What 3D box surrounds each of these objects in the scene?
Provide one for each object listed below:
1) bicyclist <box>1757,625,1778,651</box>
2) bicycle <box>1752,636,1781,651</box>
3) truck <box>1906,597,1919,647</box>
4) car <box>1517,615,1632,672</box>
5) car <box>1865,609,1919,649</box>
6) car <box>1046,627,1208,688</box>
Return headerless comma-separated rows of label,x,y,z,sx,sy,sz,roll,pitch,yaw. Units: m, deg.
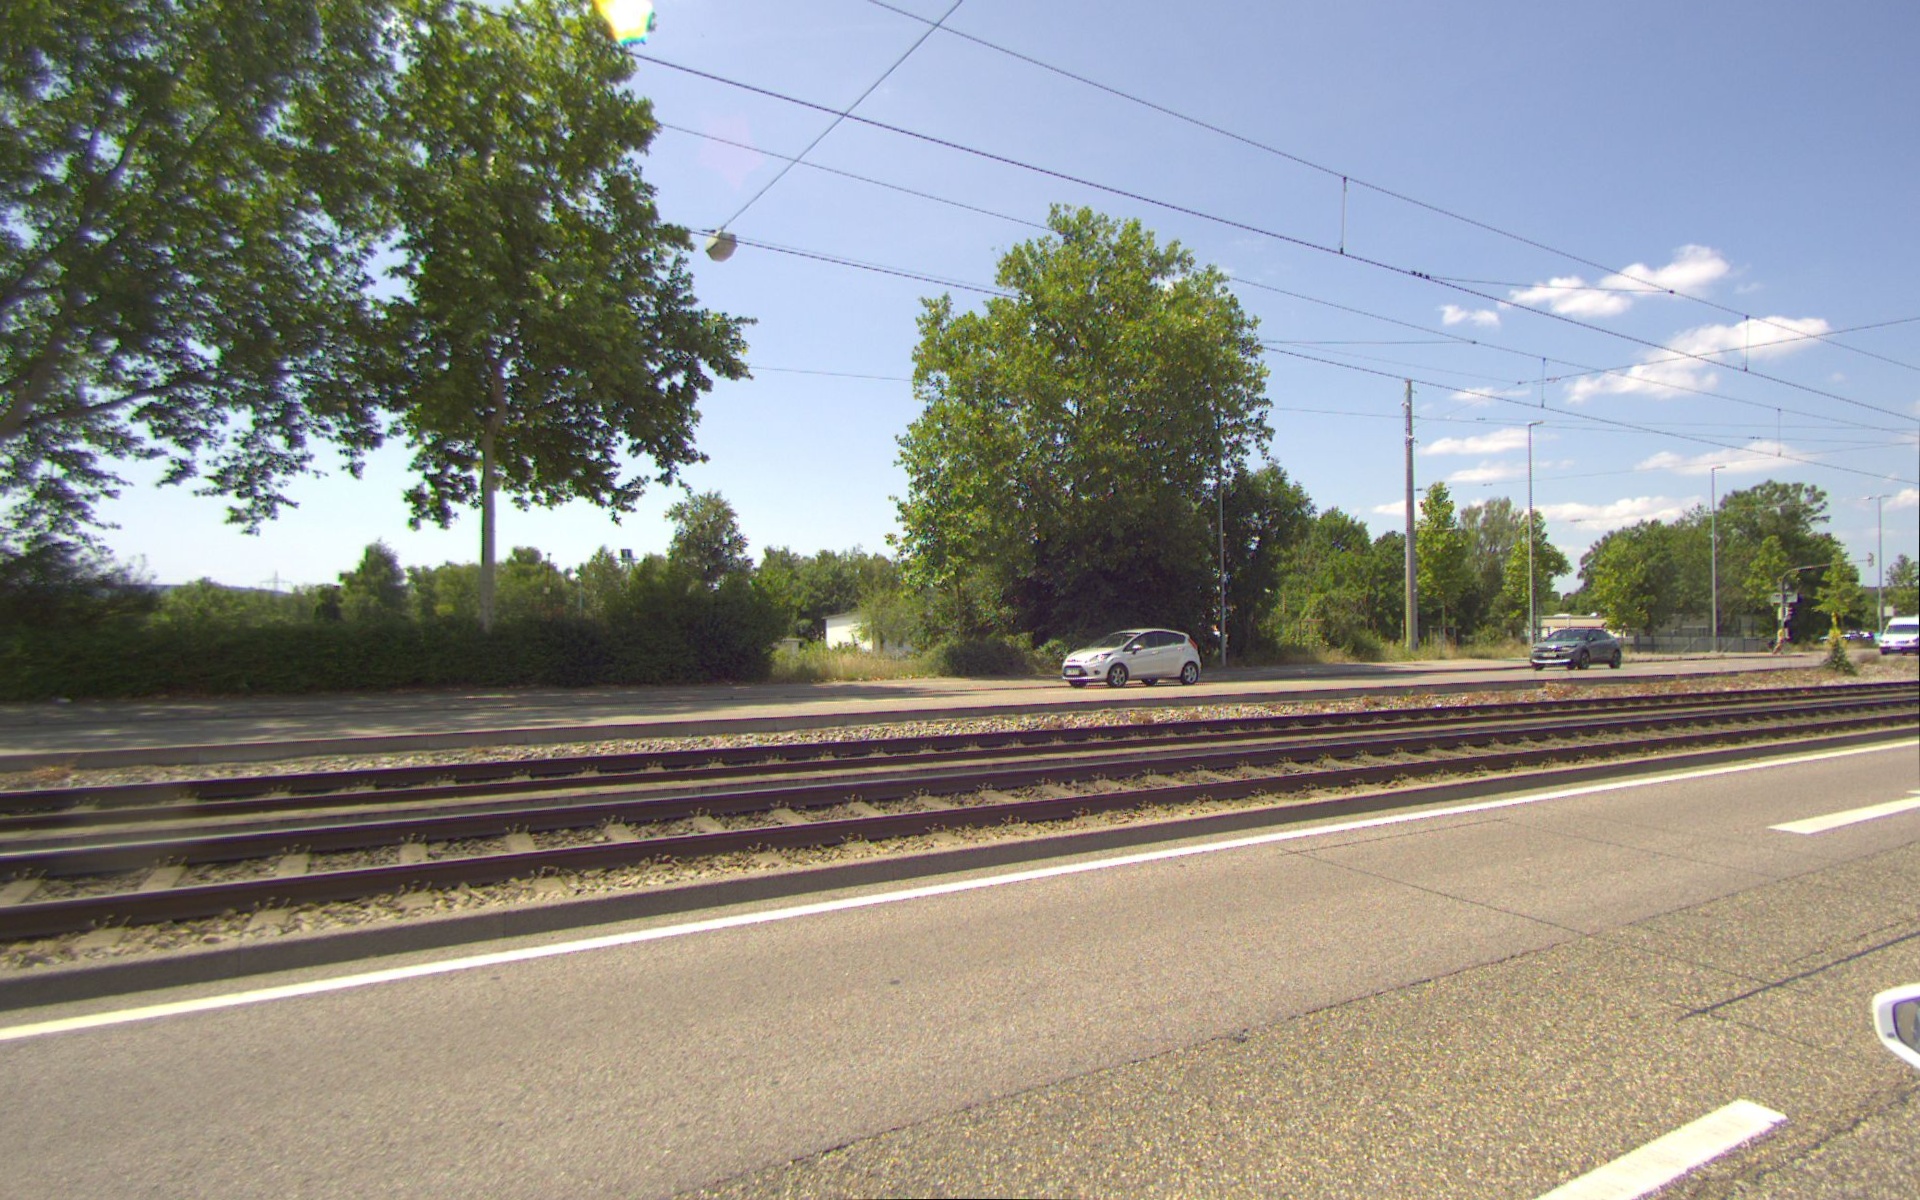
bicyclist,55.669,2.611,69.250,0.337,1.798,1.112,1,0,-34
bicycle,55.641,2.995,69.318,0.480,1.000,1.482,1,0,-33
truck,72.471,1.675,73.712,6.364,3.616,2.754,1,0,-30
car,22.814,1.546,37.250,4.364,1.944,1.981,1,1,-34
car,65.067,2.003,69.256,6.164,2.623,2.232,0,-3,-32
car,4.260,1.438,25.531,3.841,1.434,1.813,1,-3,-33
